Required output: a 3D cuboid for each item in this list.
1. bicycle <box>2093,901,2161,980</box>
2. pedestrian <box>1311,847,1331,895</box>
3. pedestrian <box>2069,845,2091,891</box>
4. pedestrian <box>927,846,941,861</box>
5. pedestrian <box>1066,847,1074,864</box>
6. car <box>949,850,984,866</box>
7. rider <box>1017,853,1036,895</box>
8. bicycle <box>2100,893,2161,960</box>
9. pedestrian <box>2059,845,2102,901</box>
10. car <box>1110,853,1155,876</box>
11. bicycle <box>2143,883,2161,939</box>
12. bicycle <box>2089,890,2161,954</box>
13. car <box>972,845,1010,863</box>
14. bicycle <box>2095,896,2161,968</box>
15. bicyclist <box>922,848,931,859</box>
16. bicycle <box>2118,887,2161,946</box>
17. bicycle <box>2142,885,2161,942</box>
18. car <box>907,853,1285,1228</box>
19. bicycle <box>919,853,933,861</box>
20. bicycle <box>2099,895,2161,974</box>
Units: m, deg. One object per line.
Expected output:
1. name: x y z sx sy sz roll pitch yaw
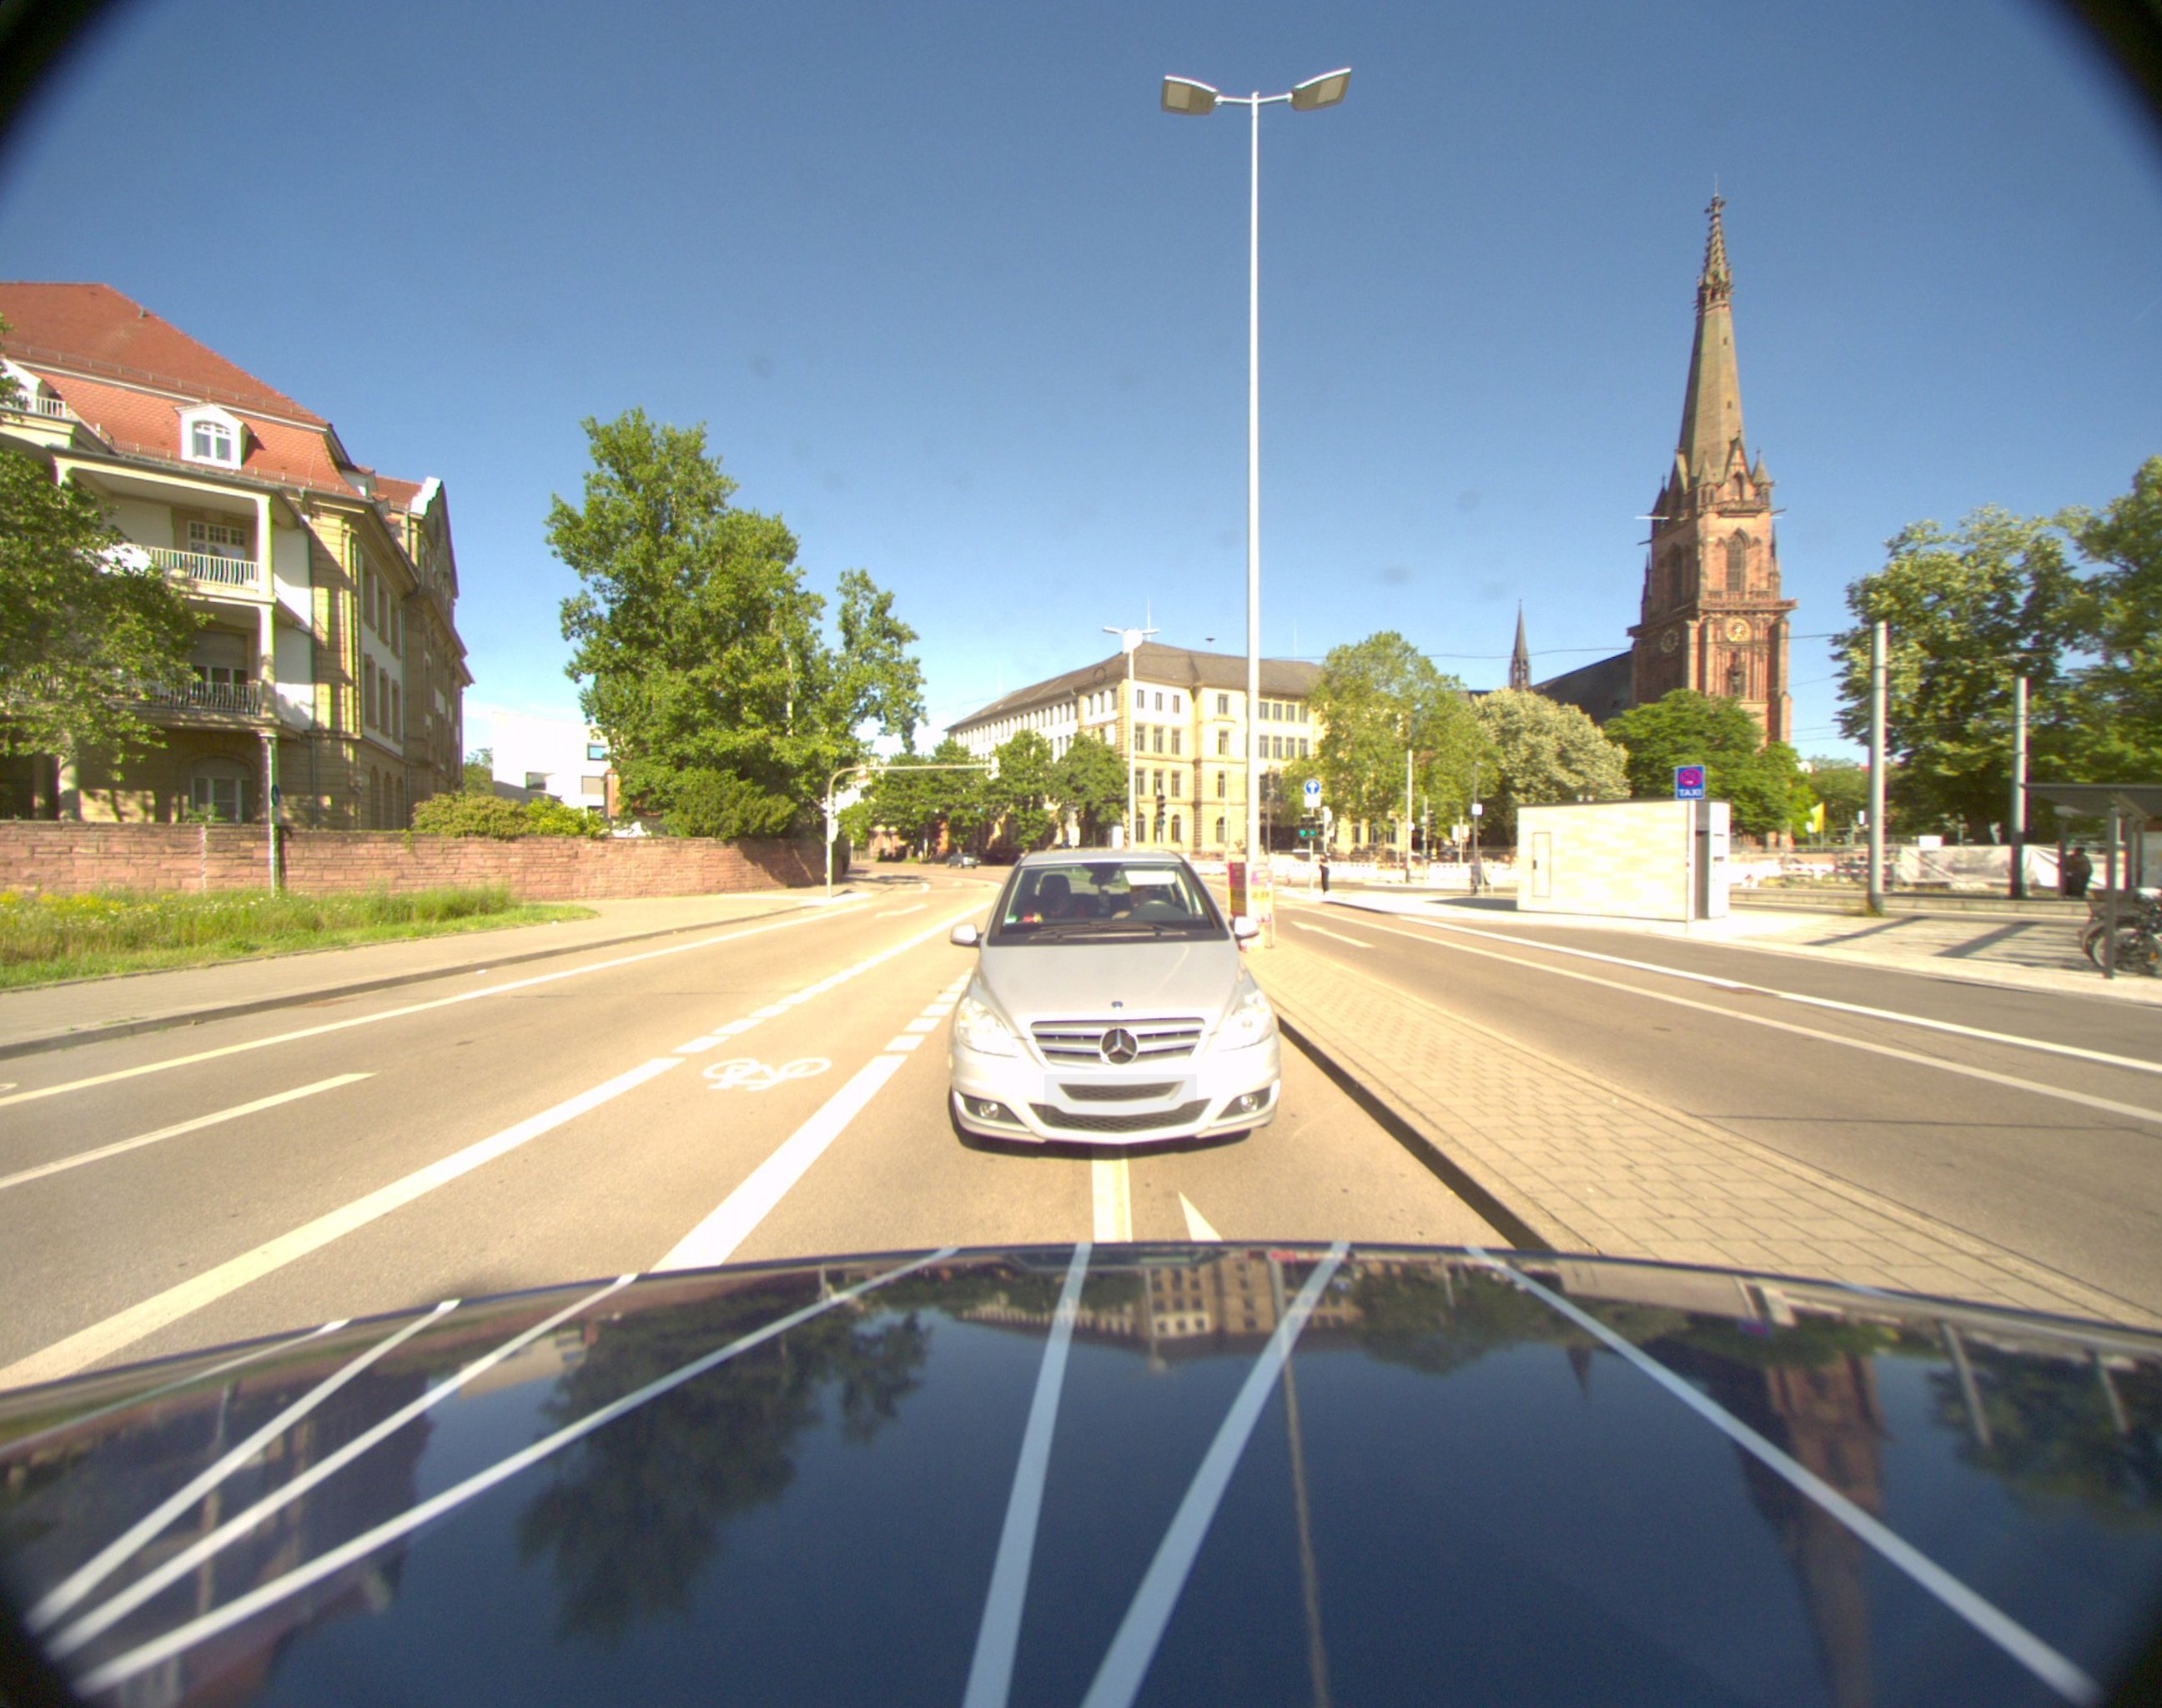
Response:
1. bicycle: 14.700 1.174 9.968 0.458 1.003 1.667 -1 1 -33
2. pedestrian: 9.385 0.654 29.715 0.693 1.844 0.679 0 1 12
3. pedestrian: 37.572 0.503 28.581 0.404 1.711 0.419 1 1 38
4. pedestrian: -18.736 -0.063 96.826 0.934 1.812 1.394 1 1 45
5. pedestrian: -1.124 0.159 80.160 0.677 1.714 0.588 -1 1 -22
6. car: -11.768 0.360 77.967 1.865 1.533 4.229 1 1 -34
7. rider: -2.146 0.781 30.084 0.658 1.610 0.989 -1 1 1
8. bicycle: 17.261 1.150 11.658 0.458 1.003 1.899 -1 1 -33
9. pedestrian: 32.302 0.596 24.560 0.980 1.769 0.801 -1 1 -37
10. car: 3.585 0.686 53.992 1.796 1.490 4.569 1 1 -14
11. bicycle: 20.489 1.066 13.613 0.458 1.003 1.667 -1 1 -33
12. bicycle: 17.915 1.130 12.431 0.458 1.003 1.667 -1 1 -33
13. car: -10.727 -0.035 90.764 1.994 2.002 4.721 0 1 32
14. bicycle: 16.074 1.156 10.979 0.458 1.003 1.667 -1 1 -33
15. bicyclist: -19.277 -0.084 94.980 0.893 1.377 0.735 1 1 44
16. bicycle: 19.128 1.101 12.952 0.458 1.003 1.667 -1 1 -33
17. bicycle: 19.896 1.078 13.203 0.458 1.003 1.667 -1 1 -33
18. car: 0.042 0.858 5.460 1.706 1.657 3.913 -1 1 -1
19. bicycle: -19.371 0.415 94.841 1.830 0.985 0.735 0 1 44
20. bicycle: 15.202 1.126 10.283 0.458 1.055 1.667 -1 1 -33
